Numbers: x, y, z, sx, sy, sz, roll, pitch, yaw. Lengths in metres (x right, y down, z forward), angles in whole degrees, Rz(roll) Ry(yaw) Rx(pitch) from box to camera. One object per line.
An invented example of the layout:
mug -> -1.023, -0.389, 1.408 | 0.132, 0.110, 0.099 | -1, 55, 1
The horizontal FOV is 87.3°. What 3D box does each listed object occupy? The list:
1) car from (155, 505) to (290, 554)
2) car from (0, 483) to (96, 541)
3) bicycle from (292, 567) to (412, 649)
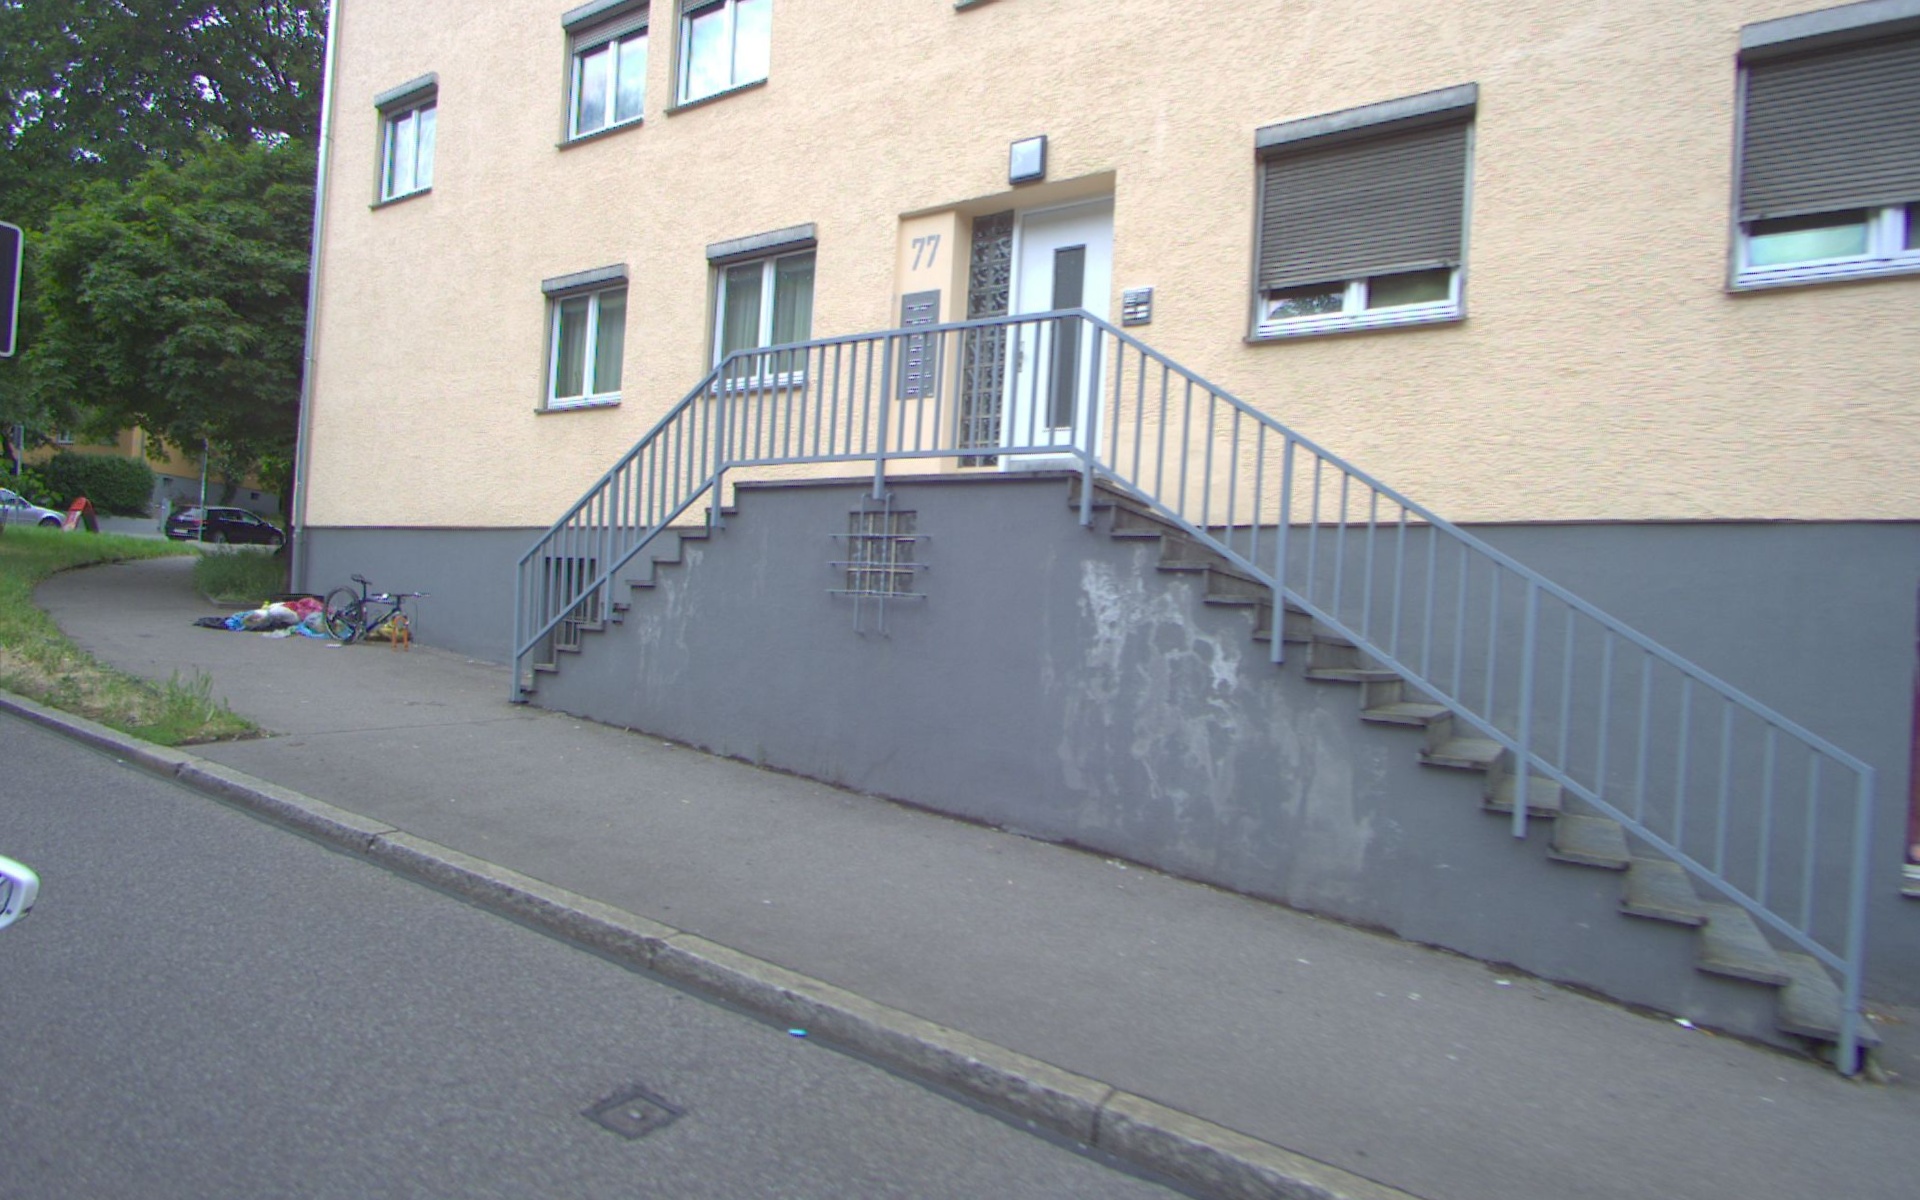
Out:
car -> -26.967, -2.536, 36.969 | 1.704, 1.447, 4.129 | 4, 1, 3
car -> -27.684, -2.650, 28.783 | 1.827, 1.447, 4.129 | 7, 1, 16
bicycle -> -6.984, 0.083, 11.534 | 1.532, 0.783, 0.488 | 6, 1, 32
